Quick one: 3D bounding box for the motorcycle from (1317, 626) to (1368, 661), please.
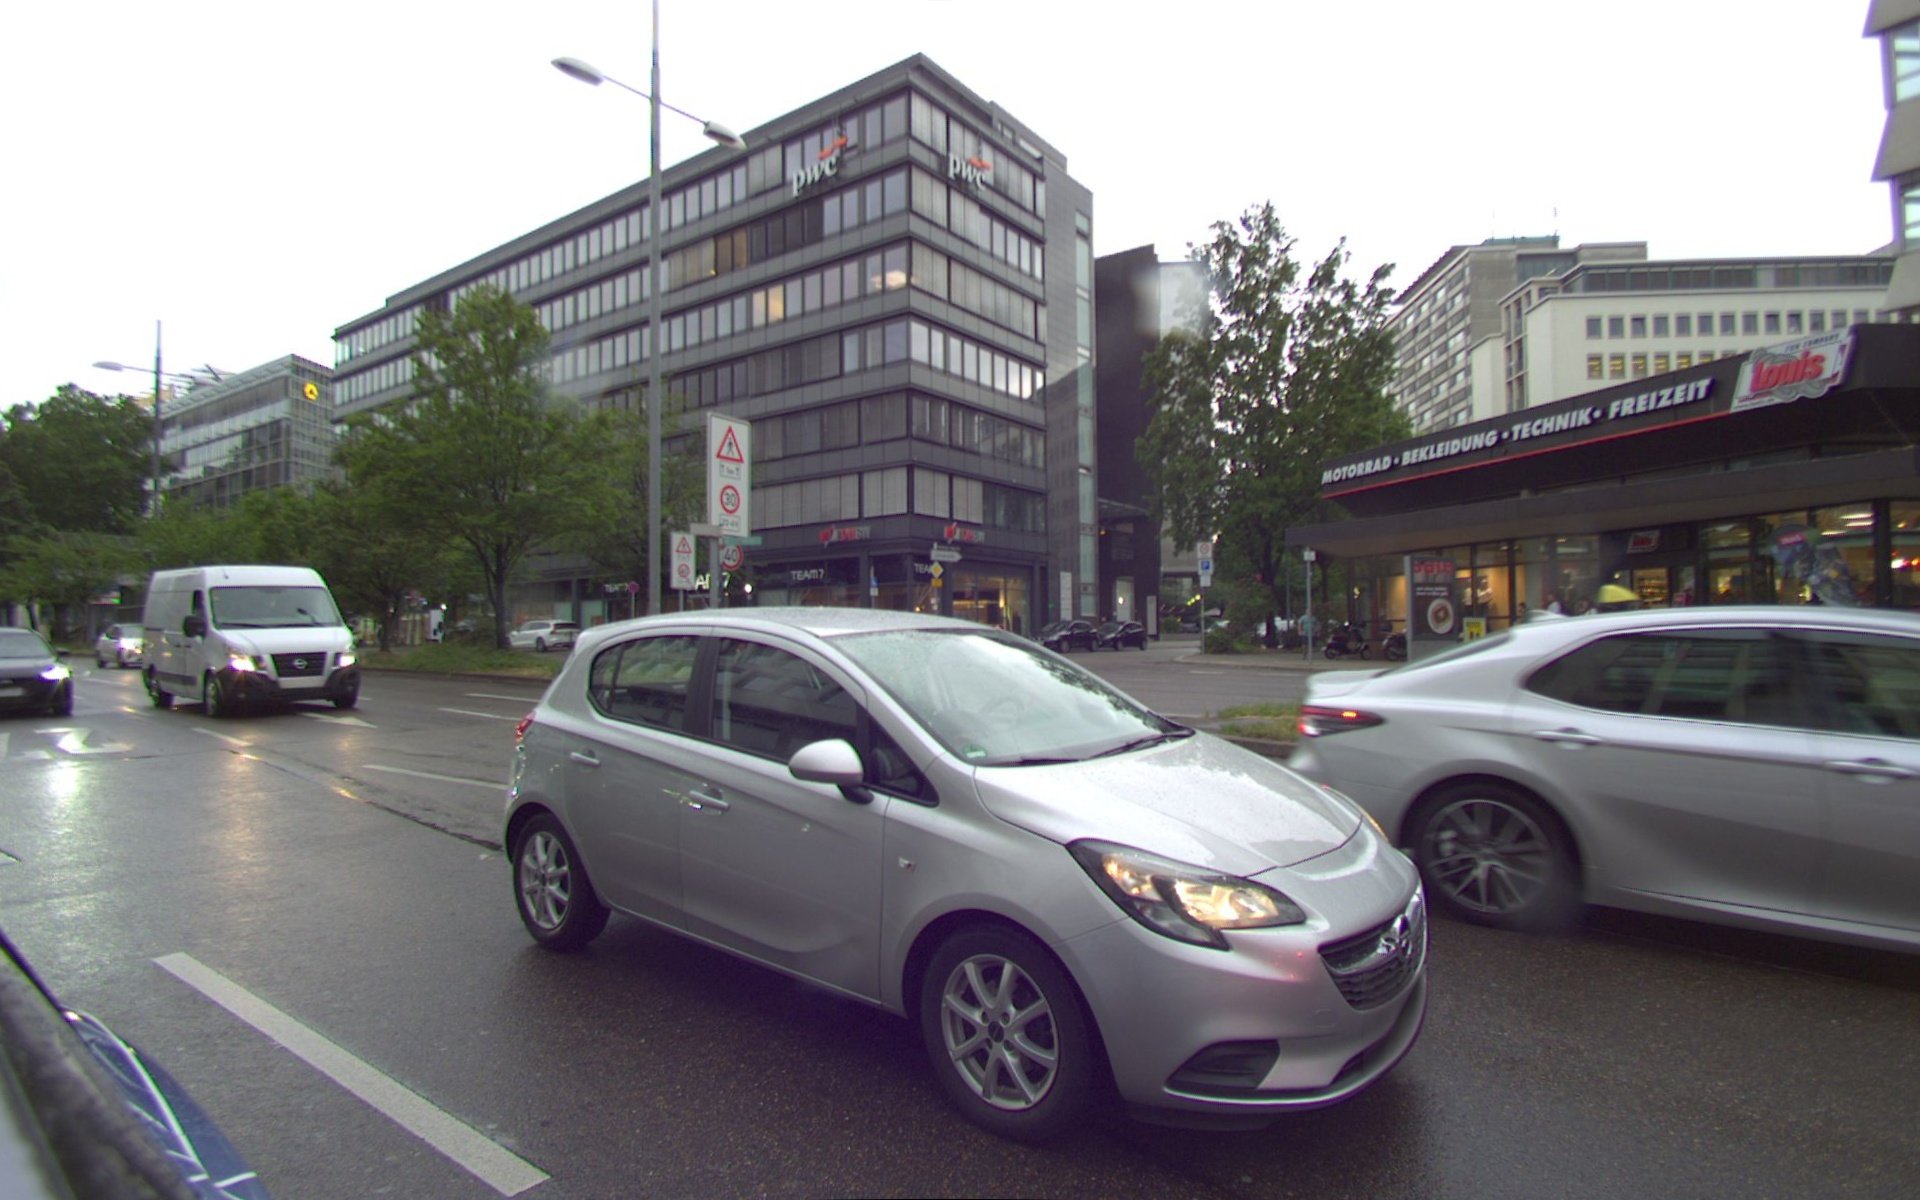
[{"bbox_3d":[12.966,1.459,34.285,1.600,1.153,0.360,-1,-1,-8],"label":"motorcycle"}]

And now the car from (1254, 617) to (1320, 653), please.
[{"bbox_3d":[15.567,1.629,48.045,1.847,1.596,3.716,-2,-1,37],"label":"car"}]

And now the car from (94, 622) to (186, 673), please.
[{"bbox_3d":[-27.808,1.588,34.293,3.492,1.630,1.744,-2,-1,39],"label":"car"}]

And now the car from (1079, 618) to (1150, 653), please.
[{"bbox_3d":[7.576,1.718,49.473,1.847,1.596,3.716,-2,-1,37],"label":"car"}]

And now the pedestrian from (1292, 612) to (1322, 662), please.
[{"bbox_3d":[11.639,1.231,33.963,0.723,1.661,0.700,-1,-1,1],"label":"pedestrian"}]

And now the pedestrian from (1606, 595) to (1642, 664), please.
[{"bbox_3d":[17.096,0.758,26.053,0.532,1.757,0.560,0,-1,-29],"label":"pedestrian"}]

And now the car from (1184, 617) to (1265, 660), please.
[{"bbox_3d":[10.669,1.507,40.644,1.847,1.596,3.716,-2,-1,37],"label":"car"}]

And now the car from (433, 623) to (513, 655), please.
[{"bbox_3d":[-24.596,1.971,51.107,4.100,1.518,1.975,-2,-1,36],"label":"car"}]

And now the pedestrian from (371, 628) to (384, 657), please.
[{"bbox_3d":[-41.943,3.076,72.883,0.500,2.029,0.681,-2,-1,38],"label":"pedestrian"}]

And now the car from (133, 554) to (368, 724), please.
[{"bbox_3d":[-12.182,0.626,17.205,5.475,2.459,1.927,-2,-1,40],"label":"car"}]

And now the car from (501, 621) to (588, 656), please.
[{"bbox_3d":[-19.408,1.789,47.257,3.992,1.518,1.975,-2,-1,36],"label":"car"}]

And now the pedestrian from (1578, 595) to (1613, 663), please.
[{"bbox_3d":[16.814,0.762,26.790,0.532,1.757,0.560,0,-1,-29],"label":"pedestrian"}]

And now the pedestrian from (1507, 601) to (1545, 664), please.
[{"bbox_3d":[14.919,0.854,26.685,0.605,1.623,0.614,0,-1,-29],"label":"pedestrian"}]

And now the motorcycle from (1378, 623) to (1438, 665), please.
[{"bbox_3d":[13.835,1.346,31.232,1.646,1.242,0.360,-1,-1,2],"label":"motorcycle"}]

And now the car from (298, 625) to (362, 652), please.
[{"bbox_3d":[-37.941,2.293,60.919,3.992,1.518,1.975,-2,-1,36],"label":"car"}]

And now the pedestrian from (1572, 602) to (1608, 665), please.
[{"bbox_3d":[16.182,0.858,25.996,0.532,1.582,0.560,0,-1,-29],"label":"pedestrian"}]

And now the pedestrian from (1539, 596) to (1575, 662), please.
[{"bbox_3d":[15.990,0.772,27.110,0.605,1.757,0.560,0,-1,-29],"label":"pedestrian"}]

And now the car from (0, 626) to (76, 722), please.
[{"bbox_3d":[-16.338,1.191,16.759,4.087,1.446,1.755,-2,-1,37],"label":"car"}]

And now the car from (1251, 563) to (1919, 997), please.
[{"bbox_3d":[3.922,0.639,4.382,4.770,1.545,1.847,-2,-1,38],"label":"car"}]

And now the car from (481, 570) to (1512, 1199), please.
[{"bbox_3d":[-0.175,0.702,3.988,3.872,1.446,1.631,-2,-1,40],"label":"car"}]

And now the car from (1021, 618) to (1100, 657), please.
[{"bbox_3d":[4.542,1.662,45.478,1.847,1.596,3.716,-2,-1,37],"label":"car"}]
